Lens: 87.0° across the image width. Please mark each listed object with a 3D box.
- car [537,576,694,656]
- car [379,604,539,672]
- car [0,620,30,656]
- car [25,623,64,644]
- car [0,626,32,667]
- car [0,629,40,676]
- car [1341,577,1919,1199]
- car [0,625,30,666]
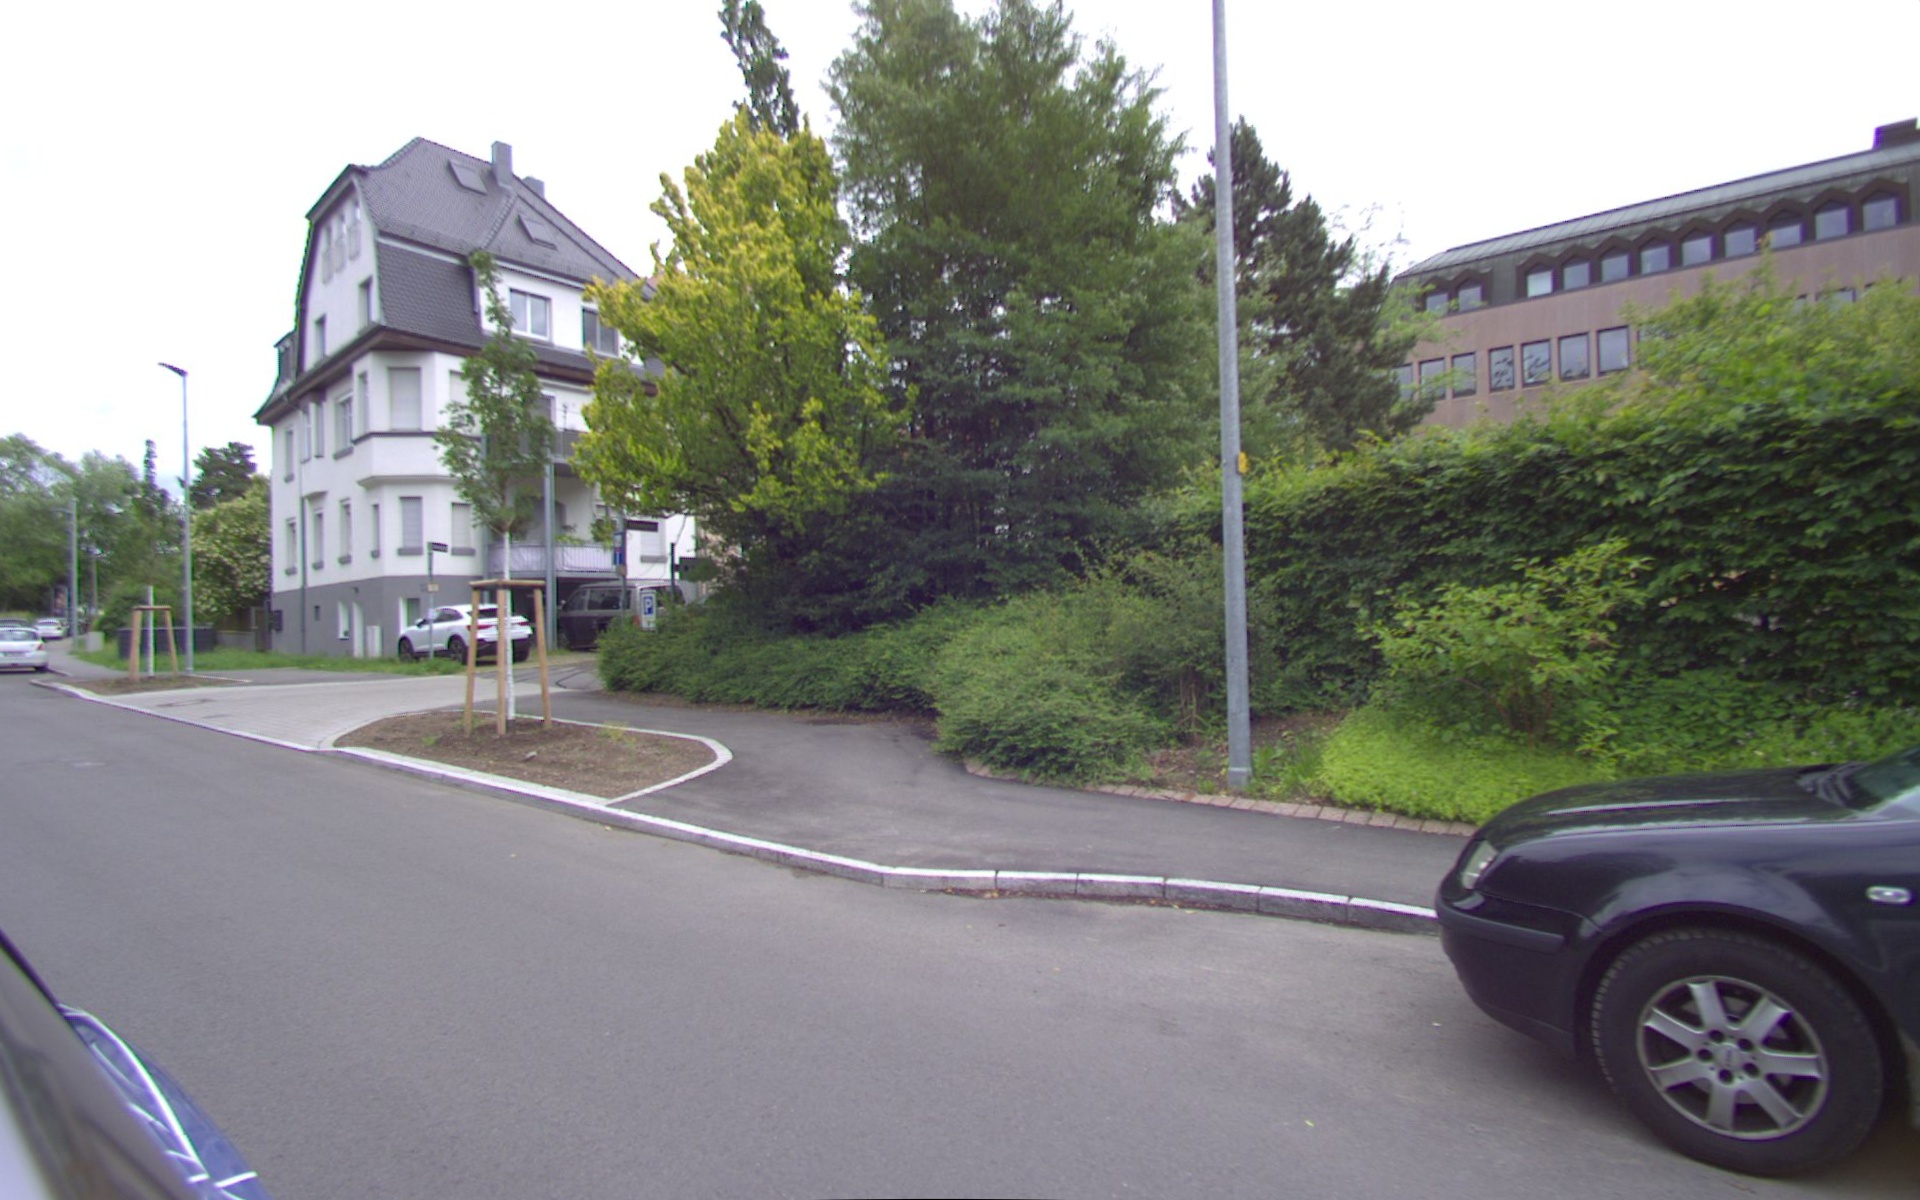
[{"bbox_3d":[-9.959,0.420,29.111,4.755,2.066,1.888,0,3,37],"label":"car"},{"bbox_3d":[-13.298,0.941,26.764,4.589,1.544,1.888,0,3,37],"label":"car"},{"bbox_3d":[-50.989,2.015,54.081,1.774,1.814,4.070,2,-2,-41],"label":"car"},{"bbox_3d":[-65.706,2.366,72.669,1.709,1.439,3.465,1,-2,-37],"label":"car"},{"bbox_3d":[-35.696,1.674,37.472,4.728,1.400,1.705,-1,-2,45],"label":"car"},{"bbox_3d":[-31.620,1.731,33.373,4.072,1.481,1.624,-3,-3,44],"label":"car"},{"bbox_3d":[3.538,0.681,2.338,4.690,1.494,1.665,-2,-2,41],"label":"car"},{"bbox_3d":[-39.370,1.842,41.314,4.816,1.585,1.707,-2,-4,44],"label":"car"}]
